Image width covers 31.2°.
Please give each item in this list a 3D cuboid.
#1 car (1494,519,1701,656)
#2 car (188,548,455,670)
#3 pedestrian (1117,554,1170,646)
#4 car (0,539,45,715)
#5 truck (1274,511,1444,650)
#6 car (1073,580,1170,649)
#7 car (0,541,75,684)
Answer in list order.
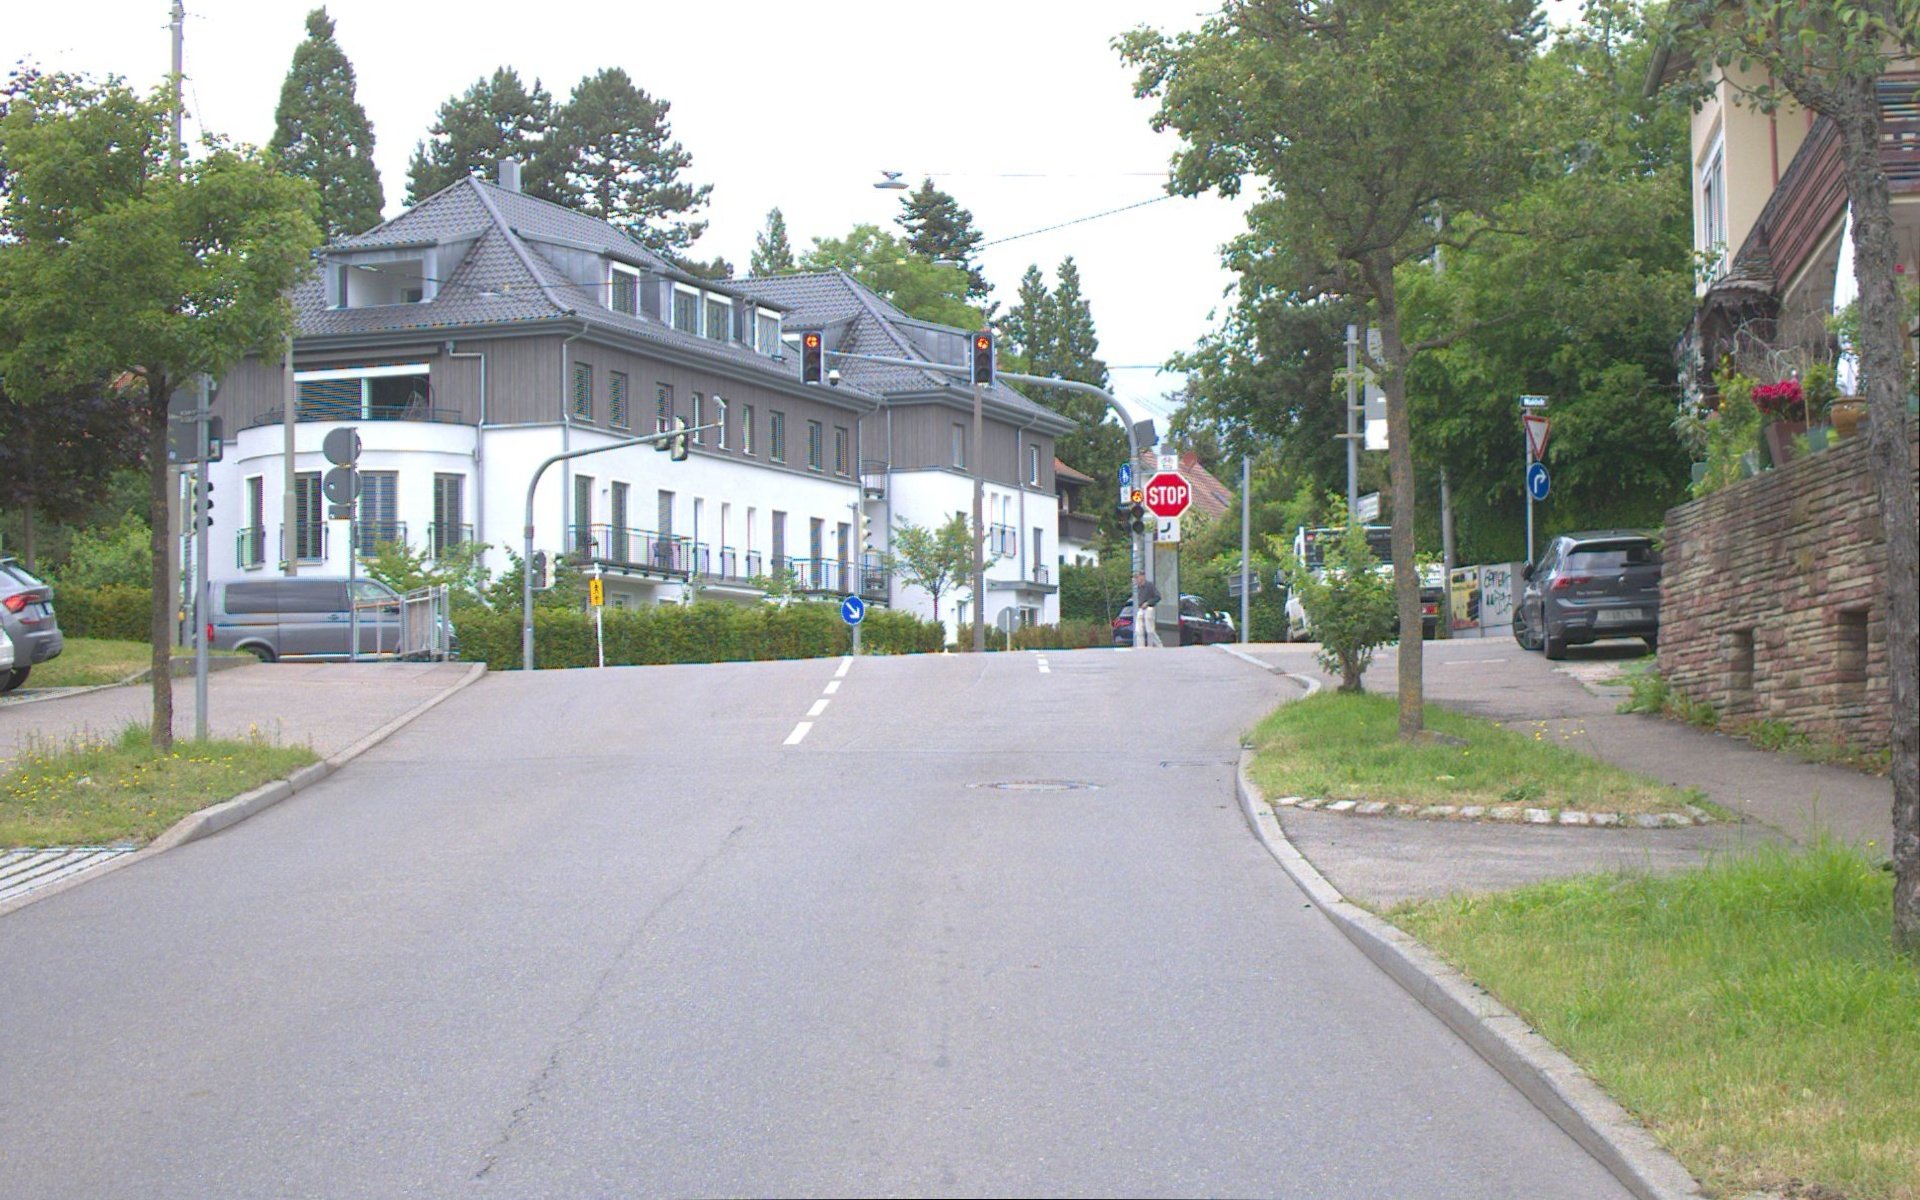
[{"bbox_3d":[7.620,-0.166,41.446,1.848,1.467,4.385,-3,0,4],"label":"car"},{"bbox_3d":[-11.659,0.178,62.706,4.493,2.007,2.000,0,-6,-19],"label":"car"},{"bbox_3d":[3.395,-0.004,63.766,0.698,1.676,0.686,-1,1,-30],"label":"pedestrian"},{"bbox_3d":[-10.996,0.322,32.353,4.259,1.618,2.014,-2,0,-3],"label":"car"},{"bbox_3d":[7.007,-0.287,61.037,2.183,2.188,5.881,-1,-2,-1],"label":"truck"},{"bbox_3d":[3.798,0.308,80.176,2.154,1.486,4.712,-1,1,4],"label":"car"},{"bbox_3d":[-11.448,0.170,36.445,3.759,1.459,1.732,-2,2,-6],"label":"car"}]
